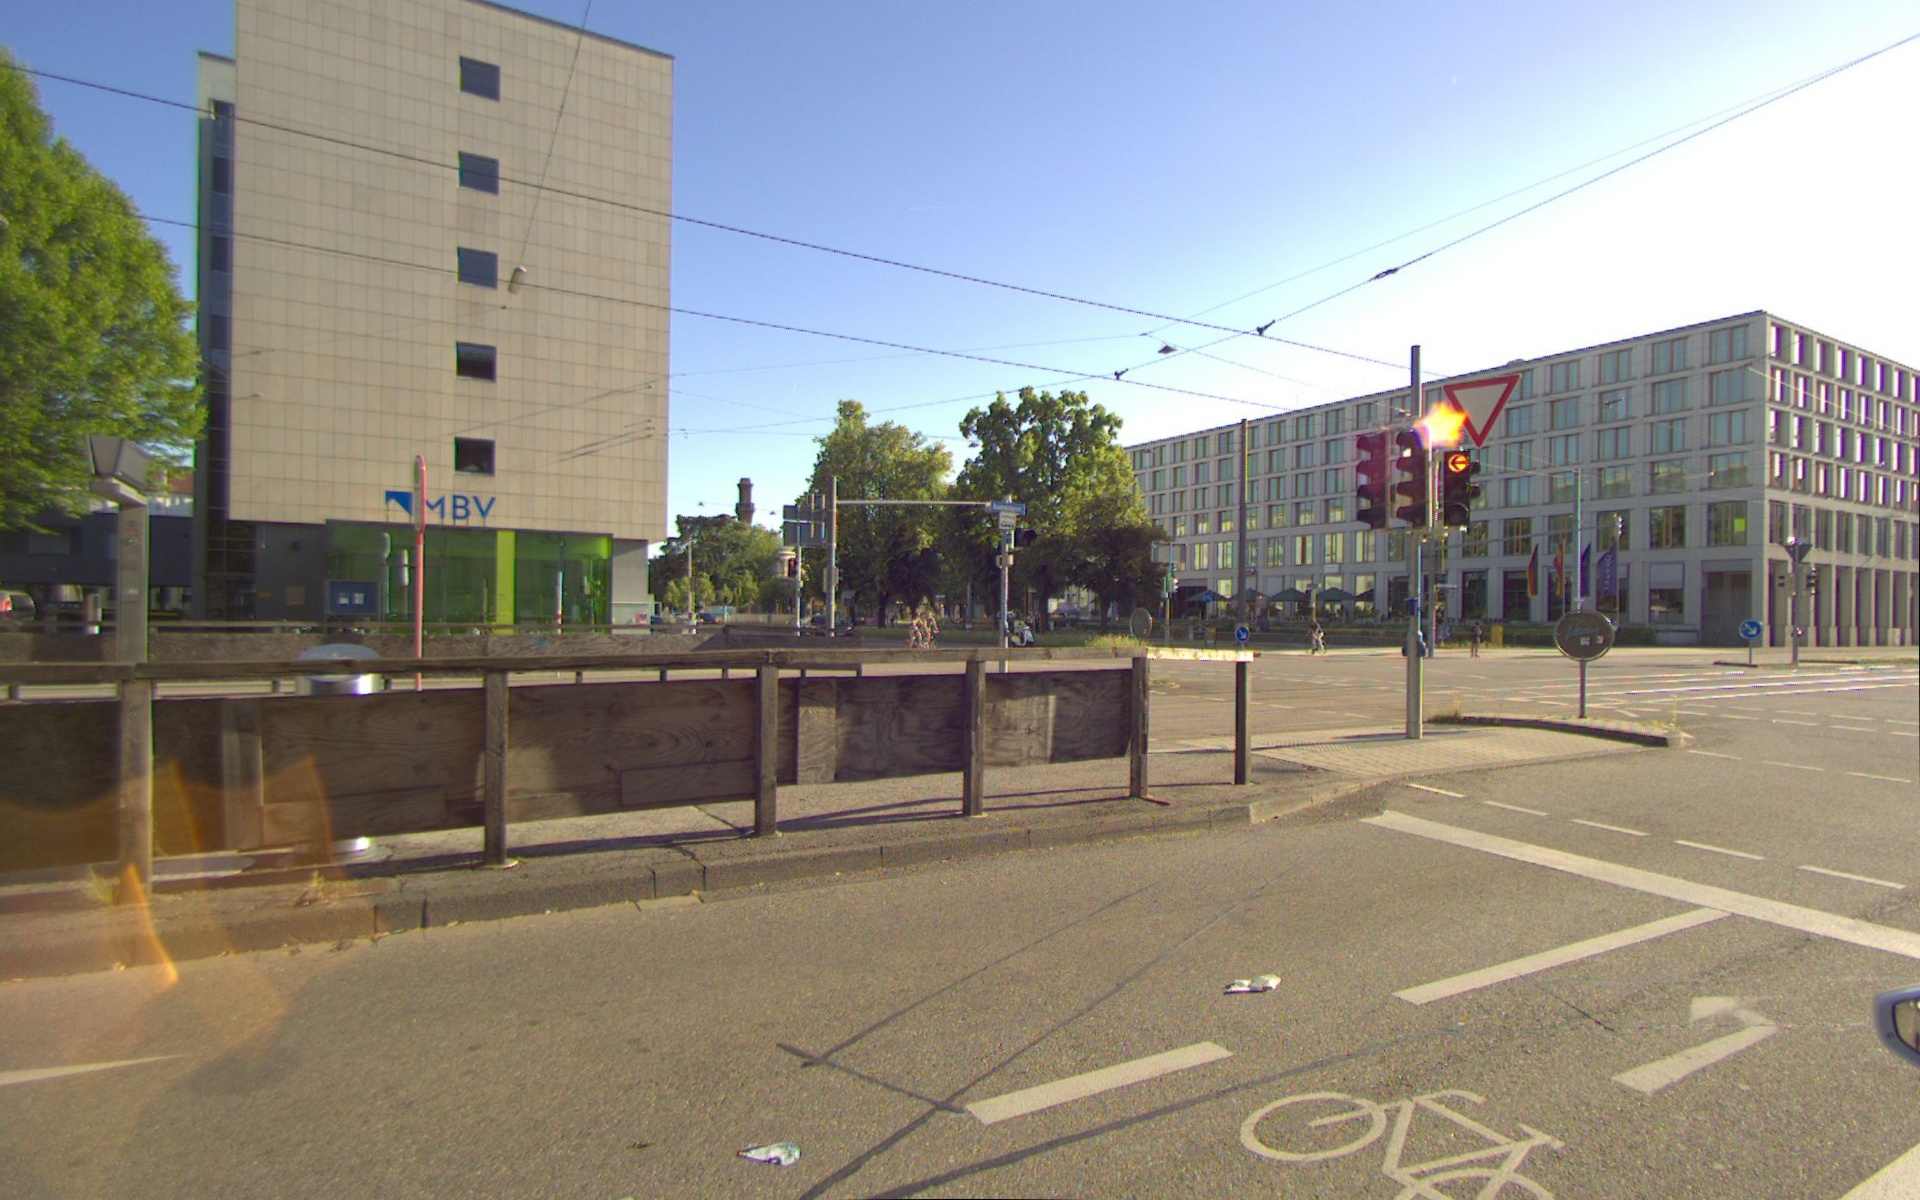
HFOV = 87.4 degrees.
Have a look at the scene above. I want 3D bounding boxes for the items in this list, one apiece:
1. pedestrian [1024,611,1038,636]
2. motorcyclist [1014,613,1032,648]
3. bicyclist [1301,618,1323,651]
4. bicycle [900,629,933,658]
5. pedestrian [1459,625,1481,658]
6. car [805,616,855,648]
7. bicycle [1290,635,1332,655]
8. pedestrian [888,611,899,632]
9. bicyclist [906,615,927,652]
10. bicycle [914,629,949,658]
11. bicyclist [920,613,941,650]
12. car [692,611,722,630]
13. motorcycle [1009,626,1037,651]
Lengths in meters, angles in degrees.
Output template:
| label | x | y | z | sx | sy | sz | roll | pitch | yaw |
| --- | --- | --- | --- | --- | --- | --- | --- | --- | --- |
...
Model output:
| label | x | y | z | sx | sy | sz | roll | pitch | yaw |
| --- | --- | --- | --- | --- | --- | --- | --- | --- | --- |
| pedestrian | 5.620 | 1.842 | 79.648 | 0.864 | 1.925 | 0.712 | 2 | 0 | -30 |
| motorcyclist | 2.925 | 1.429 | 46.742 | 0.561 | 1.598 | 0.643 | 1 | -1 | -33 |
| bicyclist | 17.180 | 1.667 | 49.034 | 0.764 | 1.610 | 0.760 | 1 | -1 | -13 |
| bicycle | -1.830 | 1.788 | 41.714 | 0.574 | 1.148 | 1.776 | 1 | -1 | -31 |
| pedestrian | 24.934 | 2.010 | 49.090 | 0.584 | 1.610 | 0.771 | 1 | -1 | -30 |
| car | -7.493 | 1.814 | 57.710 | 1.611 | 1.639 | 3.623 | 2 | 0 | -28 |
| bicycle | 17.133 | 2.205 | 49.043 | 1.833 | 0.947 | 0.760 | 1 | -1 | -17 |
| pedestrian | -6.731 | 2.191 | 101.755 | 0.815 | 2.040 | 0.838 | 2 | 0 | -29 |
| bicyclist | -1.808 | 1.392 | 41.691 | 0.647 | 1.544 | 0.615 | 1 | -1 | -32 |
| bicycle | -1.217 | 1.818 | 42.136 | 0.616 | 1.148 | 1.869 | 1 | -1 | -31 |
| bicyclist | -1.252 | 1.331 | 42.215 | 0.602 | 1.544 | 0.709 | 1 | -1 | -32 |
| car | -23.246 | 1.842 | 92.174 | 1.613 | 1.639 | 3.618 | 2 | 0 | -32 |
| motorcycle | 2.913 | 1.790 | 46.791 | 0.524 | 1.153 | 1.449 | 1 | -1 | -34 |
